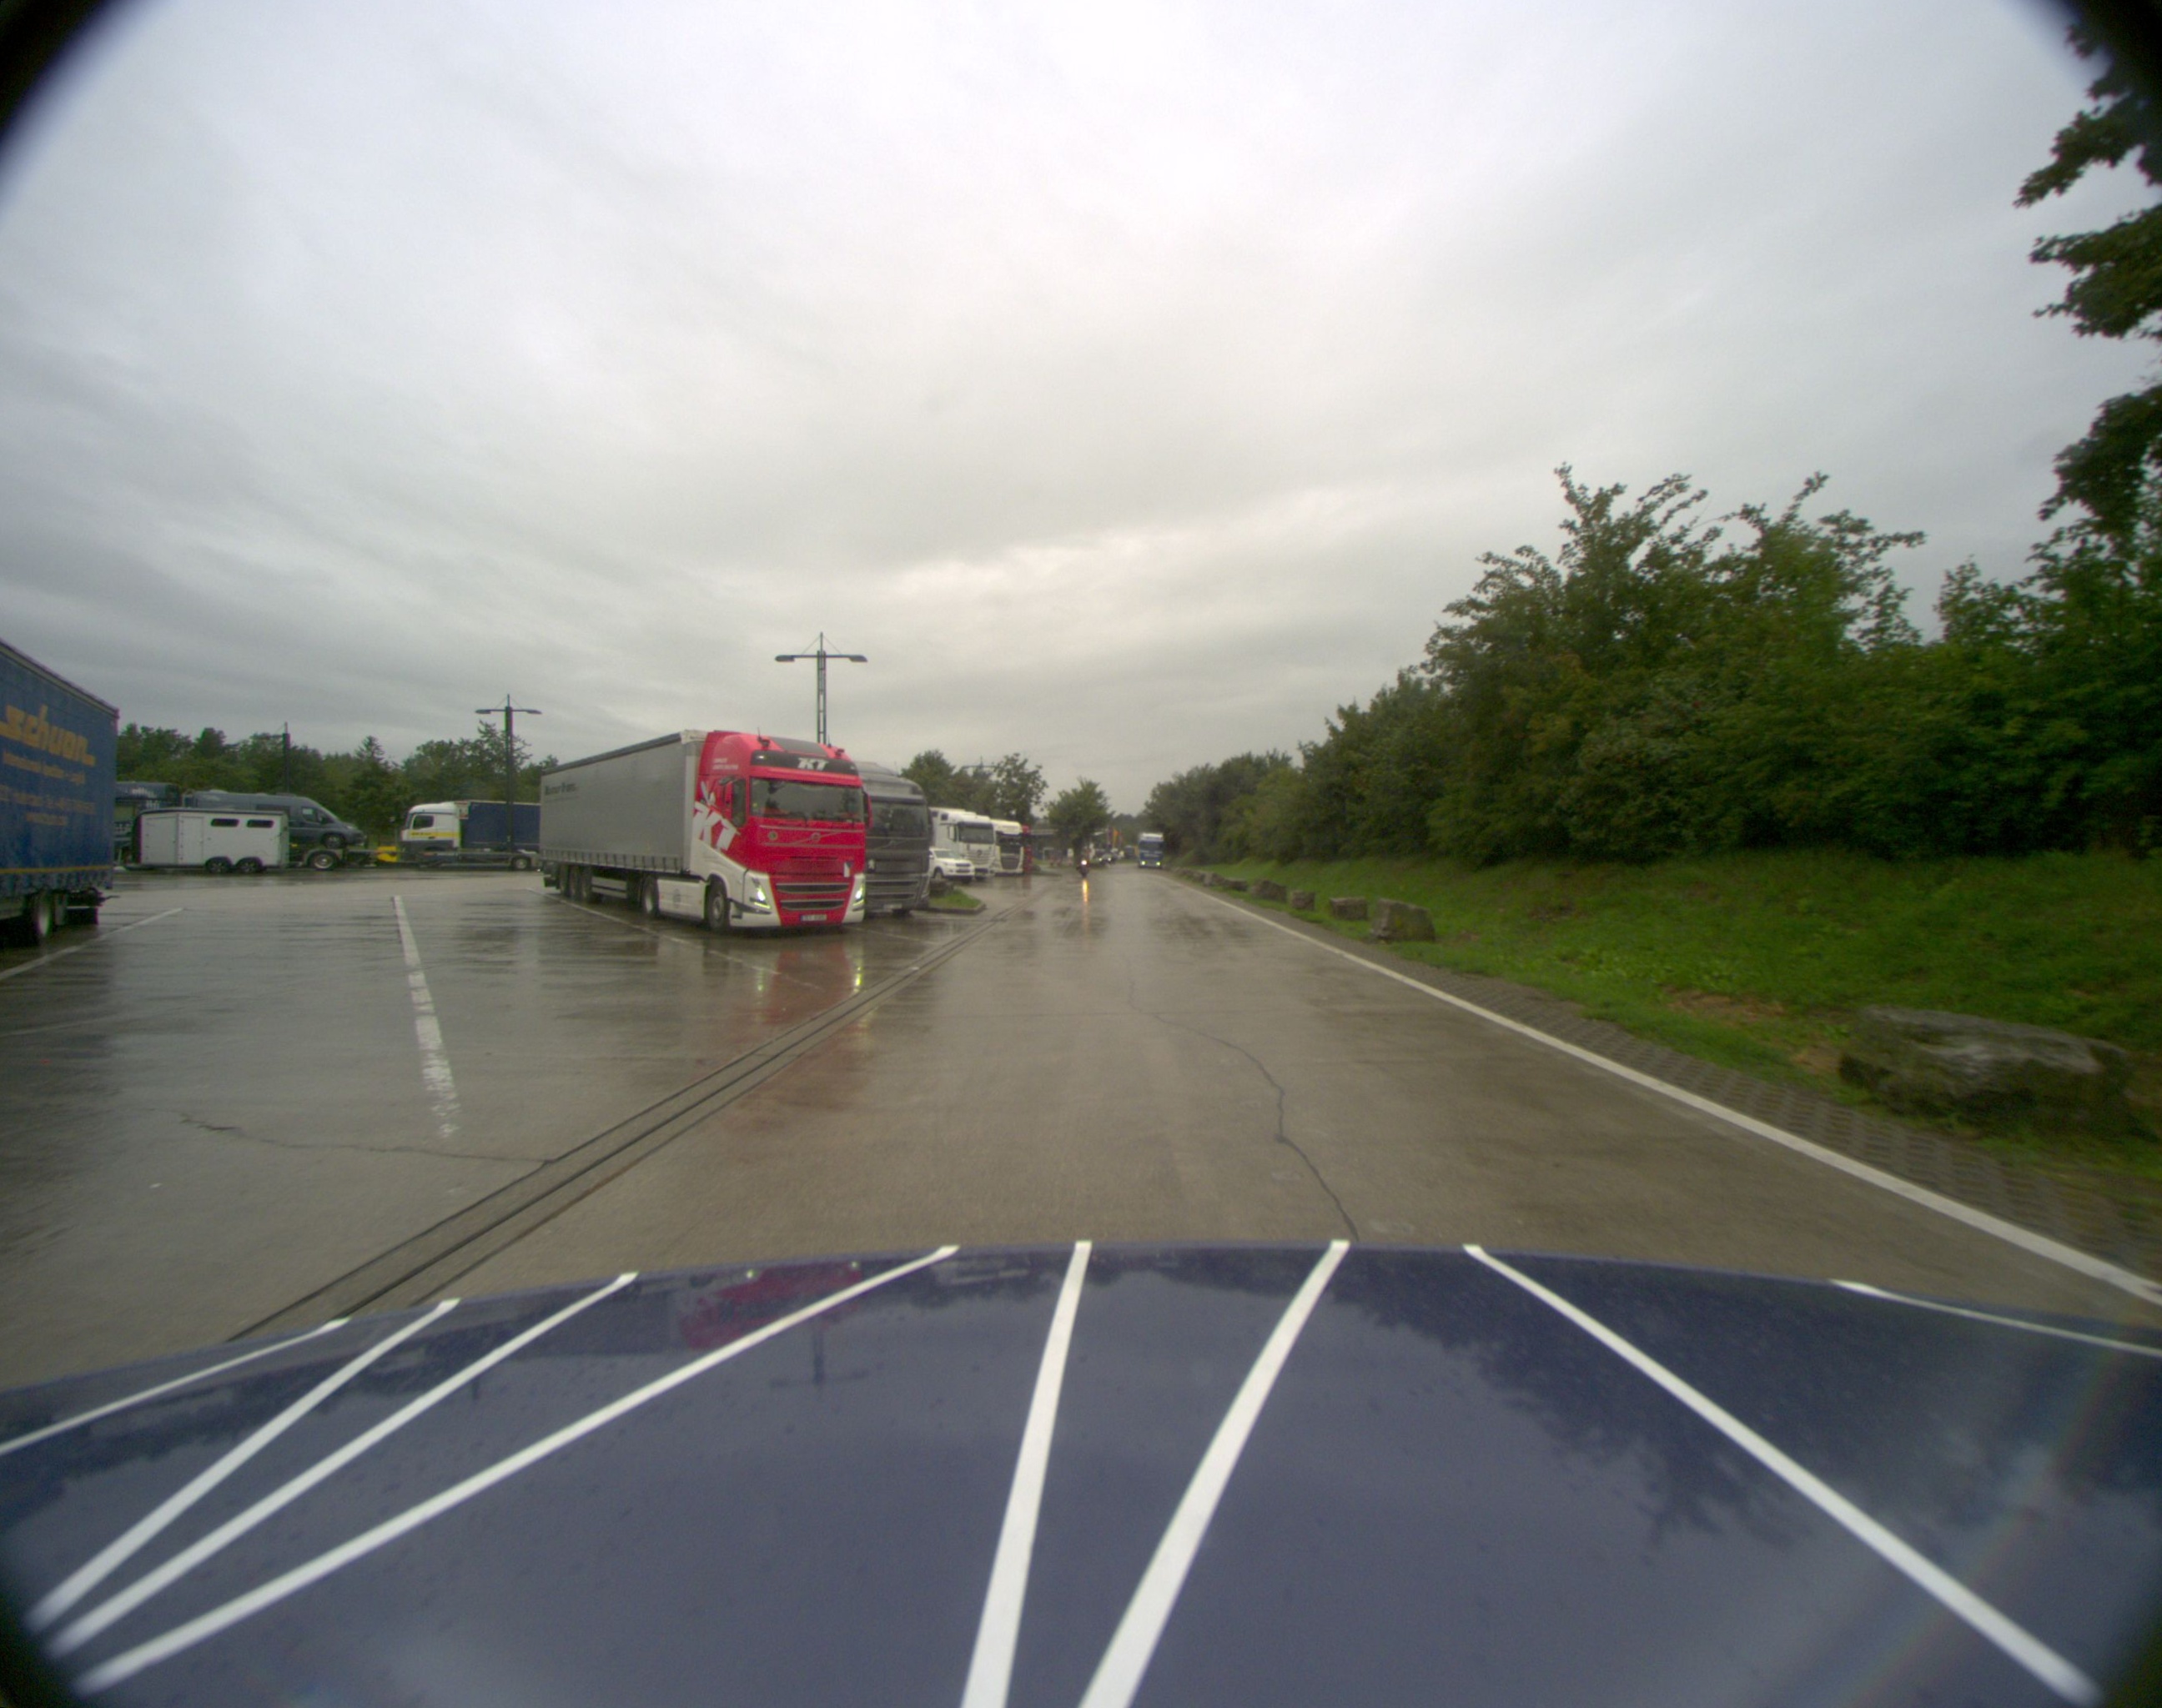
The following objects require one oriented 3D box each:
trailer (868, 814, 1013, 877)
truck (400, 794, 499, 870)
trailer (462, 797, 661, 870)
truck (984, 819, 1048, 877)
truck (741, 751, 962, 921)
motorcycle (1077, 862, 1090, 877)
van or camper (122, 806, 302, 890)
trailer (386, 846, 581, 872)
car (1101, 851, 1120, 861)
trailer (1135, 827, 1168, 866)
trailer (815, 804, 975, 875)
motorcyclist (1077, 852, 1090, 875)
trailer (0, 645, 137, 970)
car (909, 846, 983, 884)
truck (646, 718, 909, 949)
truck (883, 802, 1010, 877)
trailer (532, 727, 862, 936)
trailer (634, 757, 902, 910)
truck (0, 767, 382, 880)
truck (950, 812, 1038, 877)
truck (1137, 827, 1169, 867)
[{"bbox_3d":[-11.171,-0.639,58.482,14.353,4.361,3.253,1,1,44],"label":"trailer"},{"bbox_3d":[-38.200,-1.256,46.011,4.406,4.361,3.087,0,1,-44],"label":"truck"},{"bbox_3d":[-33.920,-1.265,50.122,10.484,4.361,3.087,0,1,-44],"label":"trailer"},{"bbox_3d":[-5.104,-0.457,59.136,4.615,4.361,2.612,1,1,44],"label":"truck"},{"bbox_3d":[-6.447,-0.453,20.708,6.536,3.896,2.906,2,1,44],"label":"truck"},{"bbox_3d":[0.187,1.068,52.940,0.878,1.016,2.353,1,-1,1],"label":"motorcycle"},{"bbox_3d":[-35.968,-0.297,31.701,4.616,3.219,2.264,-3,1,-43],"label":"van or camper"},{"bbox_3d":[-32.039,0.239,40.990,7.981,1.281,3.236,0,1,-44],"label":"trailer"},{"bbox_3d":[4.666,0.277,118.741,1.859,1.587,4.129,1,1,17],"label":"car"},{"bbox_3d":[8.367,-0.892,92.043,3.243,4.361,13.767,0,0,3],"label":"trailer"},{"bbox_3d":[-12.385,-0.944,49.036,13.492,4.067,3.253,2,1,44],"label":"trailer"},{"bbox_3d":[0.196,0.646,52.829,0.878,1.558,1.373,1,0,1],"label":"motorcyclist"},{"bbox_3d":[-12.886,-0.541,6.888,2.875,3.896,16.584,1,1,-42],"label":"trailer"},{"bbox_3d":[-6.951,0.502,38.937,1.852,1.847,3.988,0,1,-43],"label":"car"},{"bbox_3d":[-6.397,-0.372,15.761,5.006,3.896,3.253,2,1,44],"label":"truck"},{"bbox_3d":[-8.079,-0.839,44.831,7.914,4.067,3.253,2,1,44],"label":"truck"},{"bbox_3d":[-11.217,-0.543,20.459,14.786,3.896,3.253,2,1,44],"label":"trailer"},{"bbox_3d":[-11.047,-0.637,25.173,13.894,3.896,2.883,2,1,44],"label":"trailer"},{"bbox_3d":[-40.382,-1.188,33.091,14.599,4.361,3.468,0,1,-43],"label":"truck"},{"bbox_3d":[-6.195,-0.669,53.639,5.796,4.361,3.253,1,1,44],"label":"truck"},{"bbox_3d":[8.050,-0.780,85.496,3.243,4.361,6.314,0,1,2],"label":"truck"}]
